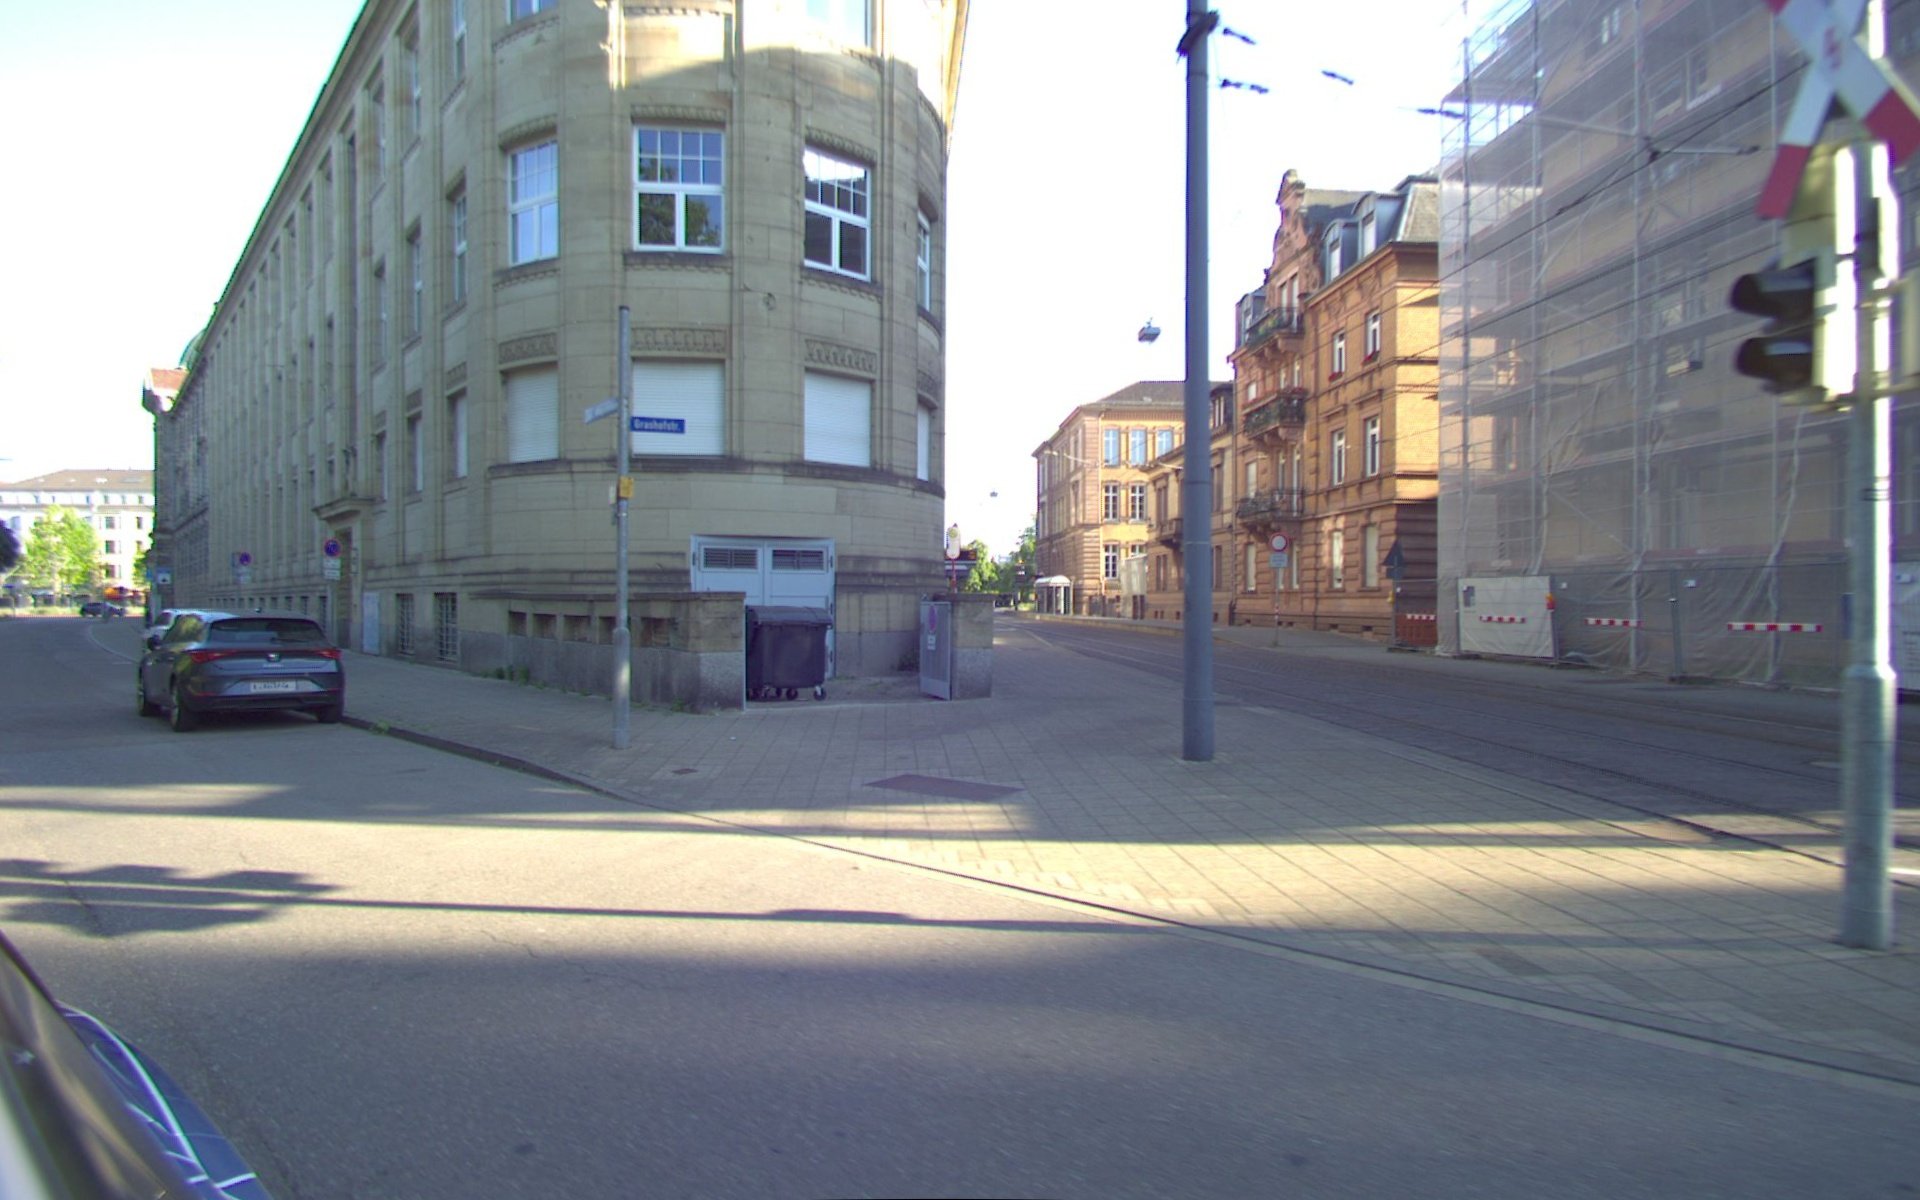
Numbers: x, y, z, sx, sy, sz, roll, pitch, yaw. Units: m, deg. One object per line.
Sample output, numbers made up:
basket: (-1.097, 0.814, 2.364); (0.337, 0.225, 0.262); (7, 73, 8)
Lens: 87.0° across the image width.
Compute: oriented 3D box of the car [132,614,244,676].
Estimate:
car: (-20.515, 1.126, 26.834); (4.563, 1.445, 1.724); (-1, 1, 45)

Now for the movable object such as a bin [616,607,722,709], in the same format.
movable object such as a bin: (-4.597, 0.872, 15.940); (1.130, 1.497, 1.632); (0, -1, -35)

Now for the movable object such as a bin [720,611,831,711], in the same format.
movable object such as a bin: (-2.914, 0.901, 15.828); (1.166, 1.439, 1.928); (0, -1, -29)

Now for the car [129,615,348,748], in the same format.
car: (-9.638, 0.936, 13.380); (1.723, 1.459, 4.211); (1, -1, -44)

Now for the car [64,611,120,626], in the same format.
car: (-91.812, 1.952, 107.083); (1.713, 1.541, 4.323); (0, -1, 15)

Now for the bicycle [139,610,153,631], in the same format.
bicycle: (-48.539, 1.228, 60.371); (0.450, 1.218, 1.883); (0, -1, -33)
